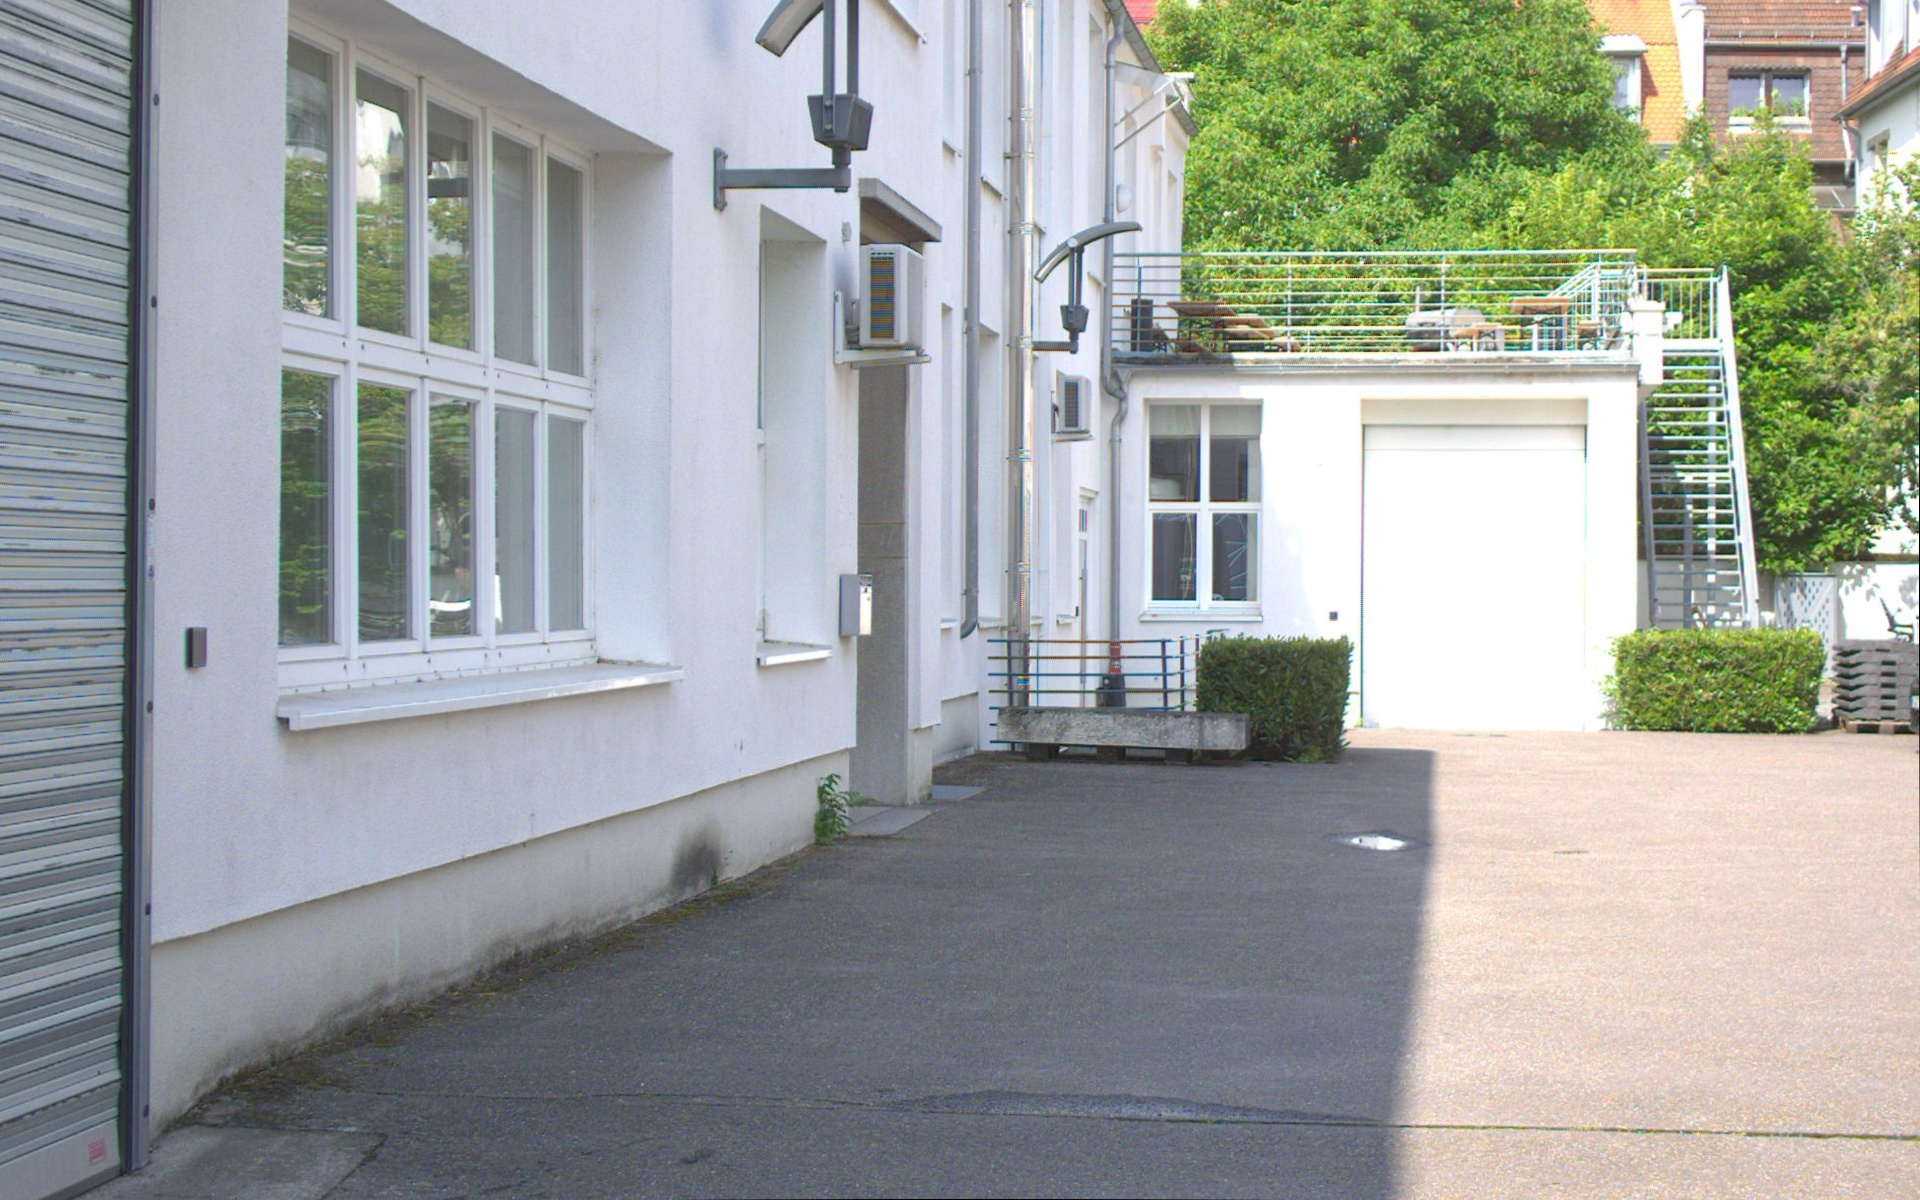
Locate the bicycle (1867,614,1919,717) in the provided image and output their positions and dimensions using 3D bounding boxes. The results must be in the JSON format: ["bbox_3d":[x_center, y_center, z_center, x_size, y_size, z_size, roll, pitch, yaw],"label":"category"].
[{"bbox_3d":[11.190,0.753,40.188,0.641,1.113,1.858,1,2,-1],"label":"bicycle"}]

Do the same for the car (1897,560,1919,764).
[{"bbox_3d":[10.641,0.597,30.887,3.987,1.811,1.664,1,2,3],"label":"car"}]
